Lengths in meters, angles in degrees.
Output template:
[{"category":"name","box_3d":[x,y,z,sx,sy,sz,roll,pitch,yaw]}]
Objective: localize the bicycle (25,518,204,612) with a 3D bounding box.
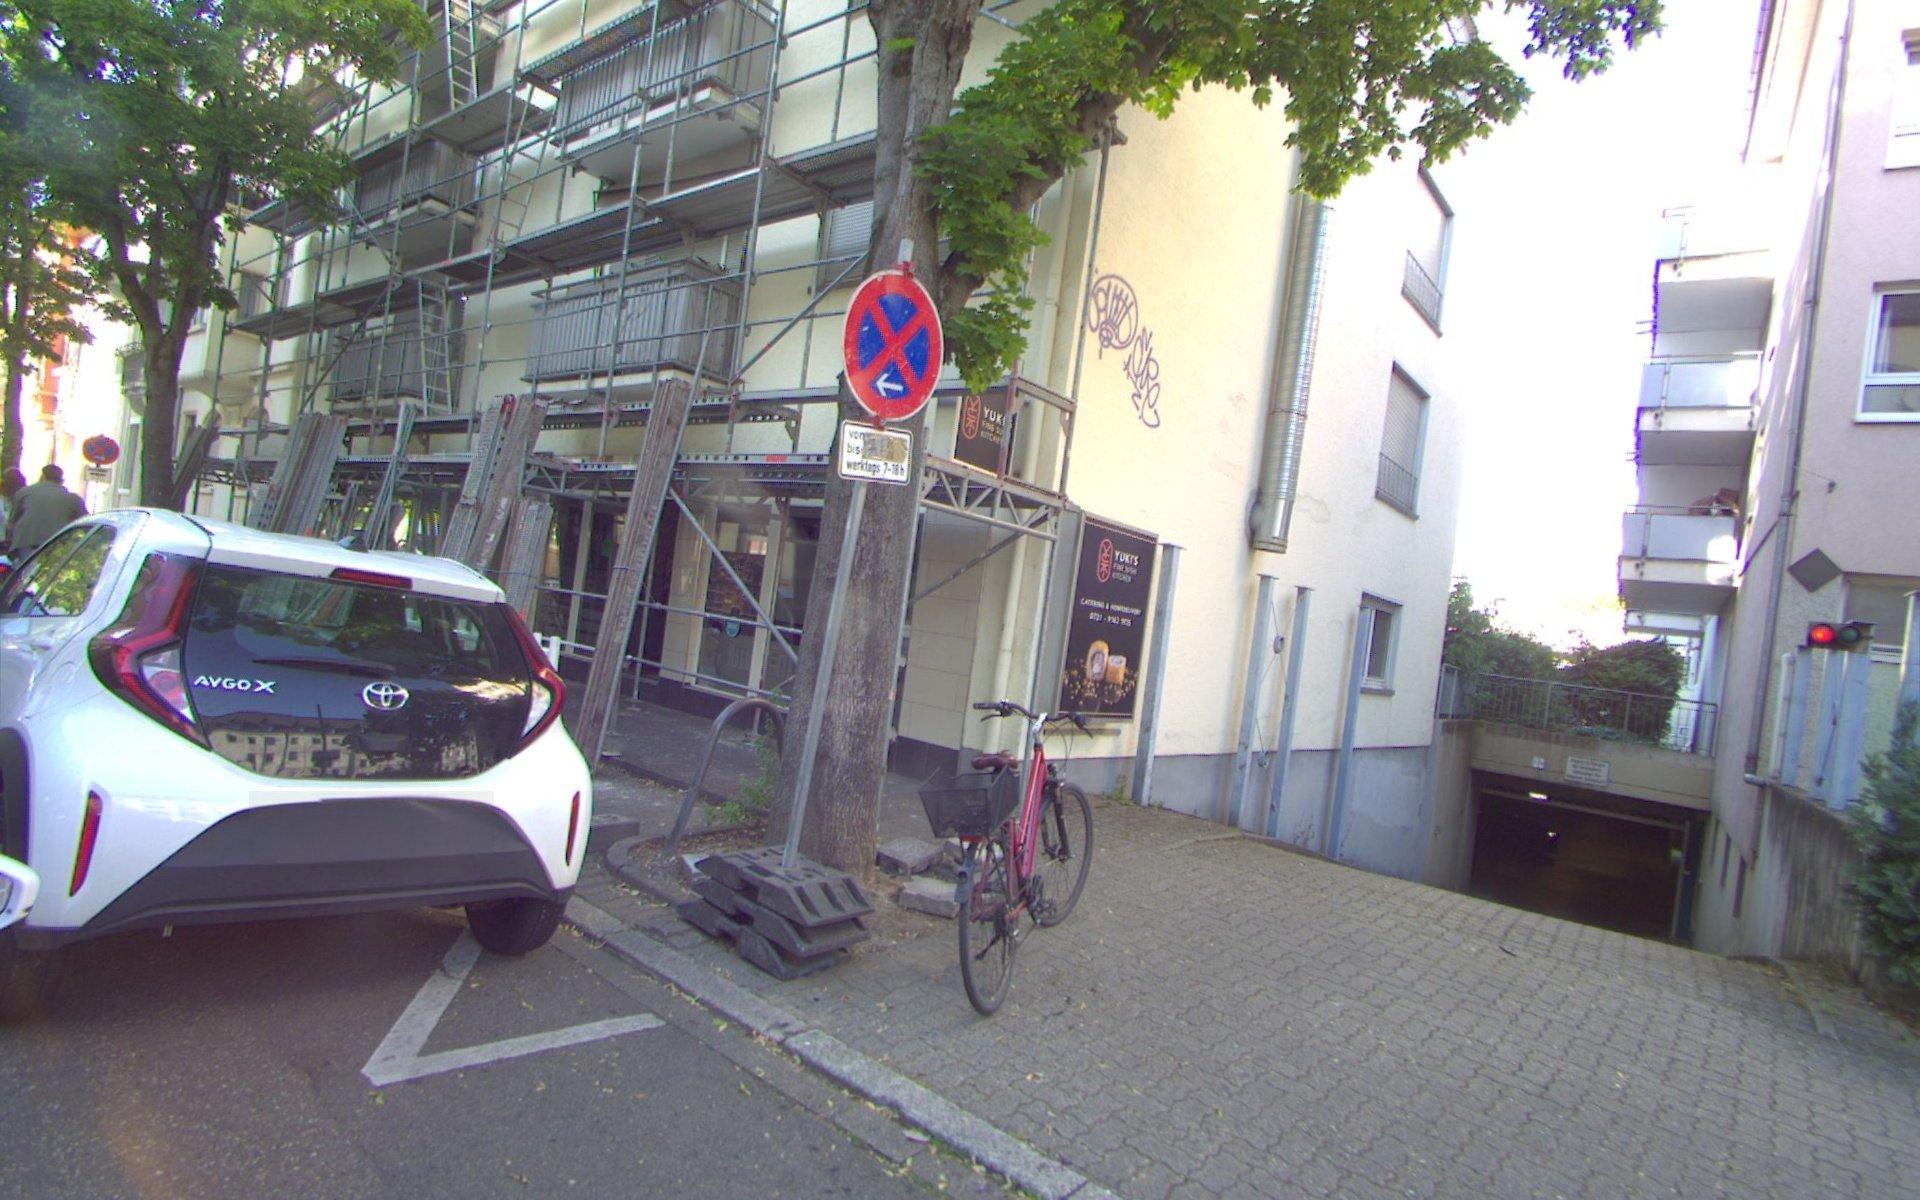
[{"category":"bicycle","box_3d":[-12.974,-0.527,15.517,1.969,1.134,0.739,9,-1,-40]}]

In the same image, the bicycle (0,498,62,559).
[{"category":"bicycle","box_3d":[-23.460,-1.811,24.831,0.577,1.321,1.758,7,-1,38]}]

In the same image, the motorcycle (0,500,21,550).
[{"category":"motorcycle","box_3d":[-25.479,-2.037,25.951,0.689,1.255,1.766,8,-1,1]}]

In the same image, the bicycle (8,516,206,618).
[{"category":"bicycle","box_3d":[-12.093,-0.457,14.342,1.903,1.134,0.744,9,-1,-21]}]

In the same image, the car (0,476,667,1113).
[{"category":"car","box_3d":[-3.224,0.417,4.358,3.909,1.553,1.801,7,-2,42]}]

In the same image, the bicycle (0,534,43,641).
[{"category":"bicycle","box_3d":[-10.778,-0.205,11.165,0.705,1.056,1.835,12,-4,-44]}]

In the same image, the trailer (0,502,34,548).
[{"category":"trailer","box_3d":[-26.414,-2.145,26.902,1.096,1.125,2.086,7,-1,26]}]

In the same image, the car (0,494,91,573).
[{"category":"car","box_3d":[-20.693,-1.556,22.111,4.366,1.440,1.678,7,0,40]}]

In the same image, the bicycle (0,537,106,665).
[{"category":"bicycle","box_3d":[-9.211,-0.016,10.117,0.737,1.072,1.835,9,-3,-44]}]

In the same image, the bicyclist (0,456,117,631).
[{"category":"bicyclist","box_3d":[-9.139,-0.563,10.132,0.754,1.583,0.969,9,-2,-44]}]

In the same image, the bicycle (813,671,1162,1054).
[{"category":"bicycle","box_3d":[0.246,0.991,4.545,0.738,1.170,1.968,7,2,26]}]

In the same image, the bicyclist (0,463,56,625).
[{"category":"bicyclist","box_3d":[-10.784,-0.658,11.277,0.969,1.707,0.714,7,-3,45]}]
